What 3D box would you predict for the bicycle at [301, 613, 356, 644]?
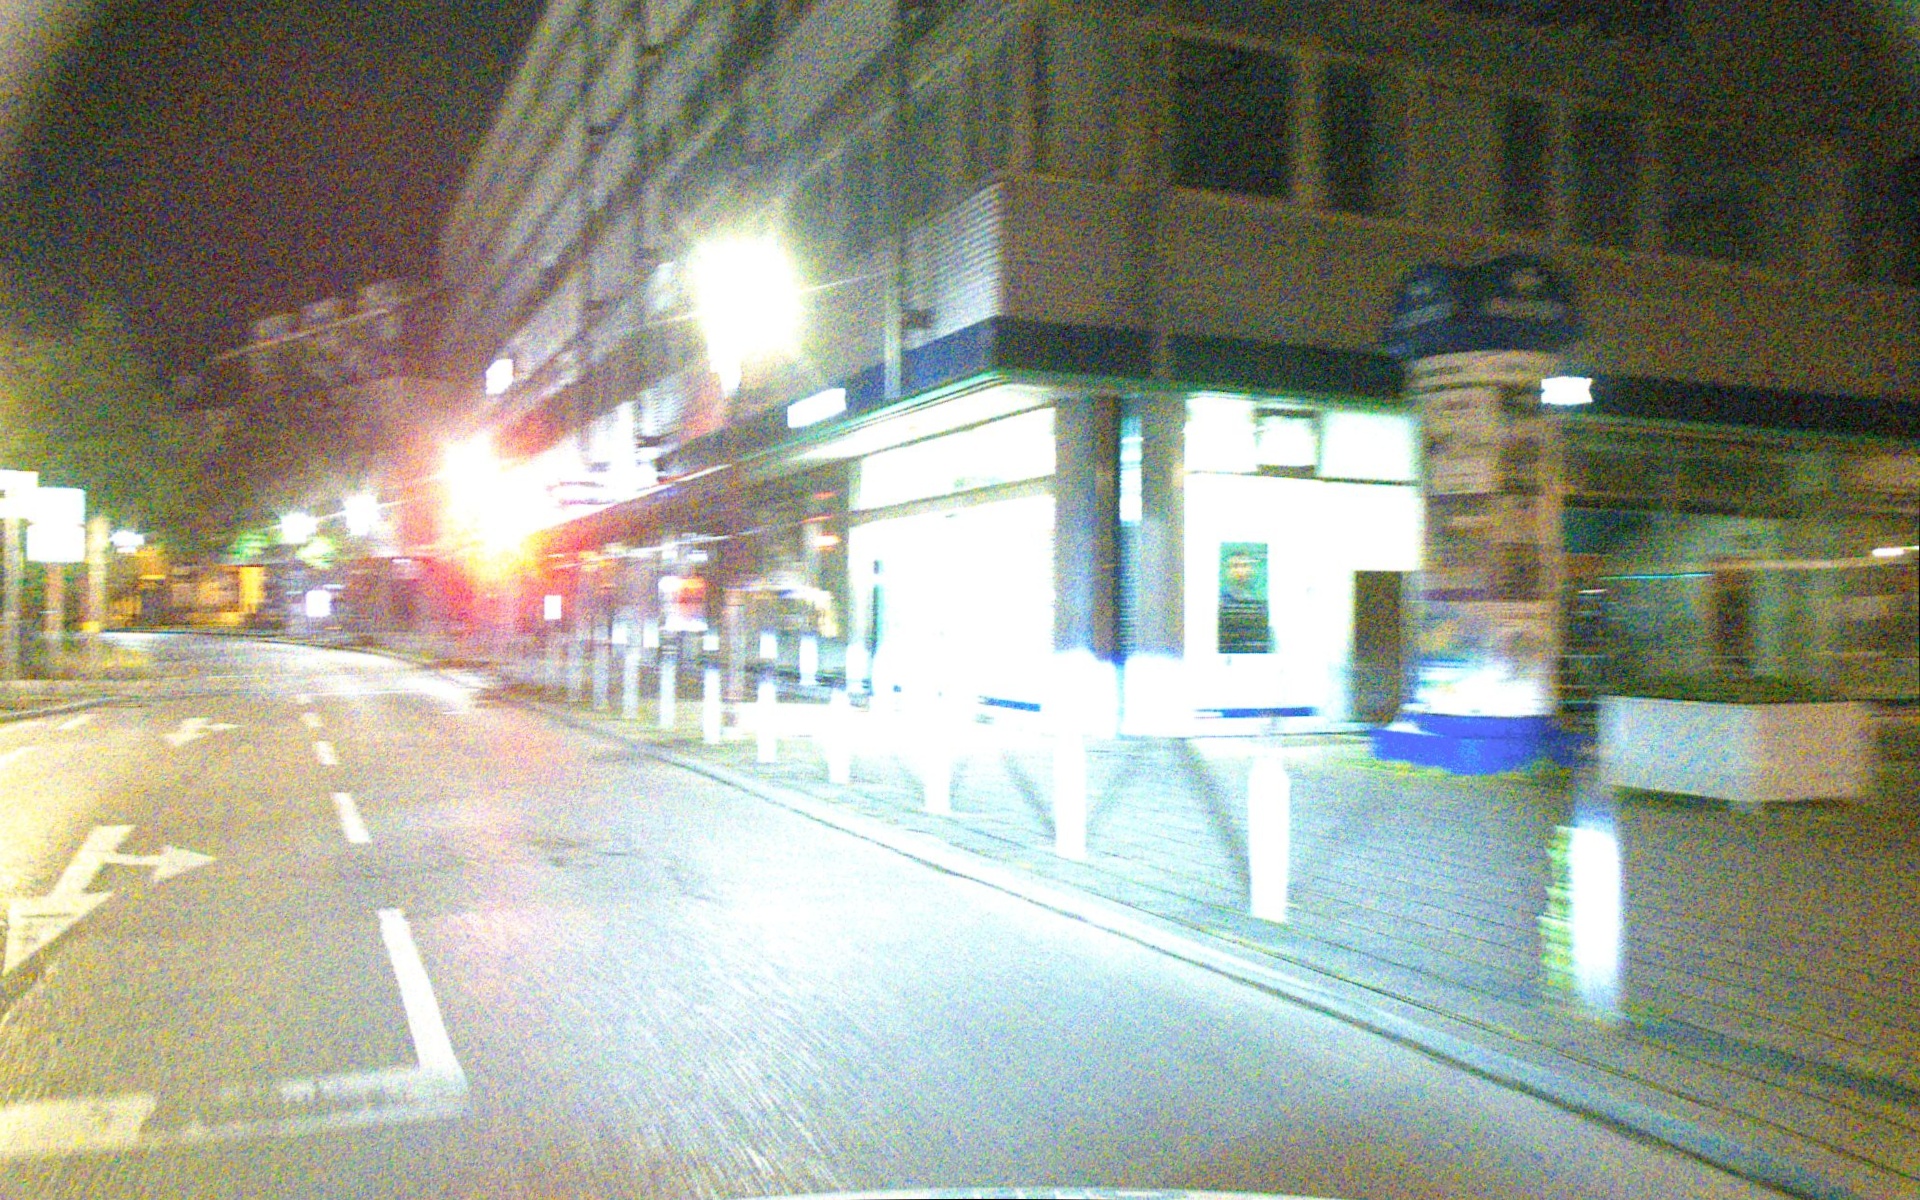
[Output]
[{"bbox_3d":[-22.882,1.022,59.959,0.644,1.081,1.744,0,0,43],"label":"bicycle"}]
